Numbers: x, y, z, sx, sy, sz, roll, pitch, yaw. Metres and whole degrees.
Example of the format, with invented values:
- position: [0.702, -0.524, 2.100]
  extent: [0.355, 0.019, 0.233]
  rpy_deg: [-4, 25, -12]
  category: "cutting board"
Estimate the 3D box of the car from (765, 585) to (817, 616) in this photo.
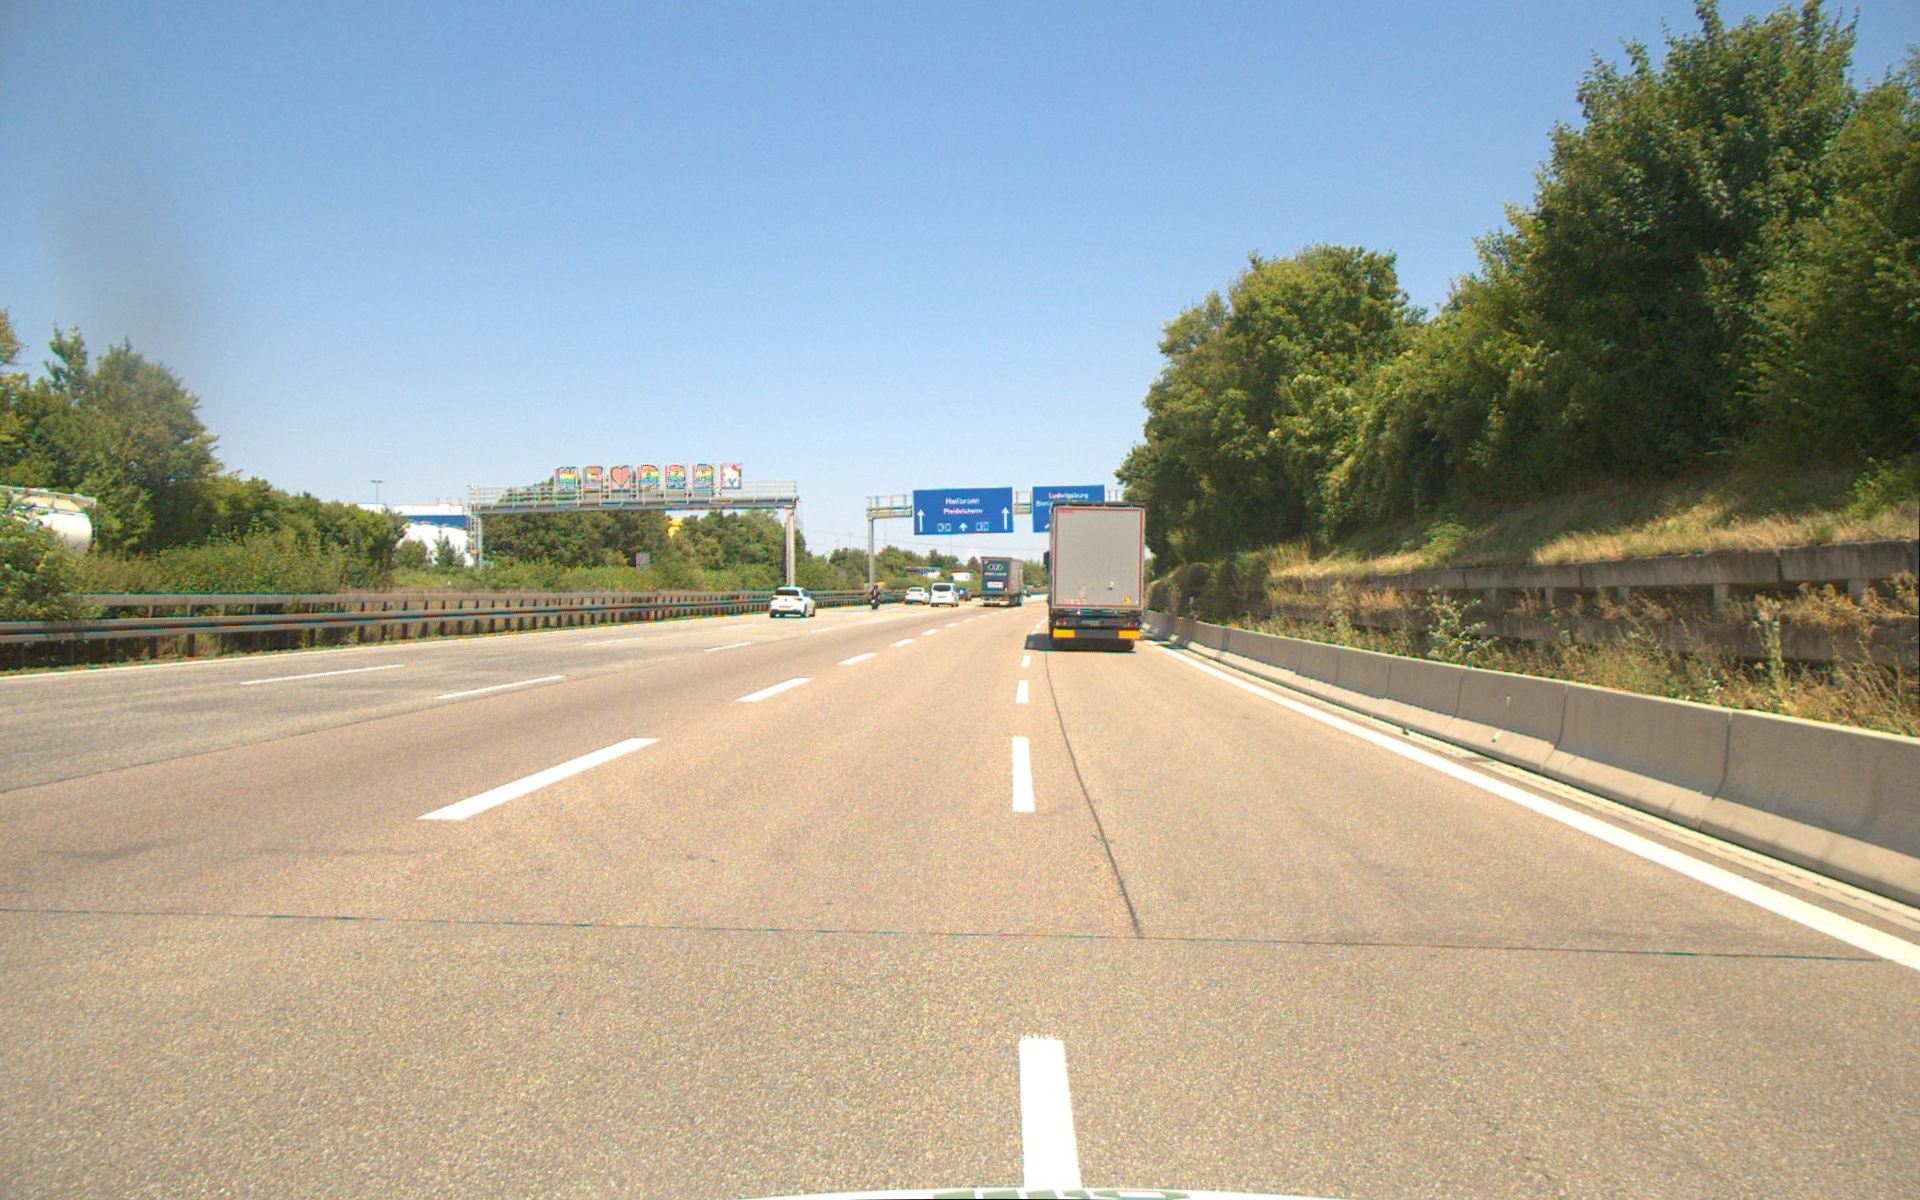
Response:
- position: [-8.218, 0.015, 80.827]
  extent: [1.744, 1.465, 4.671]
  rpy_deg: [1, 0, 4]
  category: "car"

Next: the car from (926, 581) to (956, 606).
- position: [-1.478, -0.543, 131.069]
  extent: [1.890, 1.884, 4.695]
  rpy_deg: [0, 1, 5]
  category: "car"

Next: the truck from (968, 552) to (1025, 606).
- position: [3.270, -1.820, 142.354]
  extent: [3.668, 4.344, 14.506]
  rpy_deg: [1, 1, 6]
  category: "truck"

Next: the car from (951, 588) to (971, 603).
- position: [0.138, -0.435, 174.948]
  extent: [1.720, 1.433, 5.042]
  rpy_deg: [0, -1, 4]
  category: "car"

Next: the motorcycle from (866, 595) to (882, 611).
- position: [-5.766, 0.214, 111.417]
  extent: [0.894, 1.108, 2.850]
  rpy_deg: [0, 0, 1]
  category: "motorcycle"

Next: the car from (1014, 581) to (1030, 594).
- position: [8.913, -1.791, 237.226]
  extent: [1.837, 1.814, 5.129]
  rpy_deg: [1, -1, 6]
  category: "car"

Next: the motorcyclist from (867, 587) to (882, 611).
- position: [-5.768, -0.047, 111.405]
  extent: [0.875, 1.625, 1.299]
  rpy_deg: [0, -1, 1]
  category: "motorcyclist"

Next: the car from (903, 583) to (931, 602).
- position: [-3.686, -0.629, 141.381]
  extent: [1.837, 1.466, 5.128]
  rpy_deg: [1, -1, 5]
  category: "car"

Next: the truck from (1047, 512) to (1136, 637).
- position: [4.489, -0.906, 57.640]
  extent: [2.866, 4.085, 7.587]
  rpy_deg: [0, 1, 3]
  category: "truck"

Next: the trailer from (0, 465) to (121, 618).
- position: [-26.153, -1.559, 43.680]
  extent: [2.634, 3.956, 9.738]
  rpy_deg: [1, 1, 3]
  category: "trailer"

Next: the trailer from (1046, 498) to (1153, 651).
- position: [4.067, -0.811, 50.329]
  extent: [2.866, 4.085, 12.045]
  rpy_deg: [0, 1, 3]
  category: "trailer"
